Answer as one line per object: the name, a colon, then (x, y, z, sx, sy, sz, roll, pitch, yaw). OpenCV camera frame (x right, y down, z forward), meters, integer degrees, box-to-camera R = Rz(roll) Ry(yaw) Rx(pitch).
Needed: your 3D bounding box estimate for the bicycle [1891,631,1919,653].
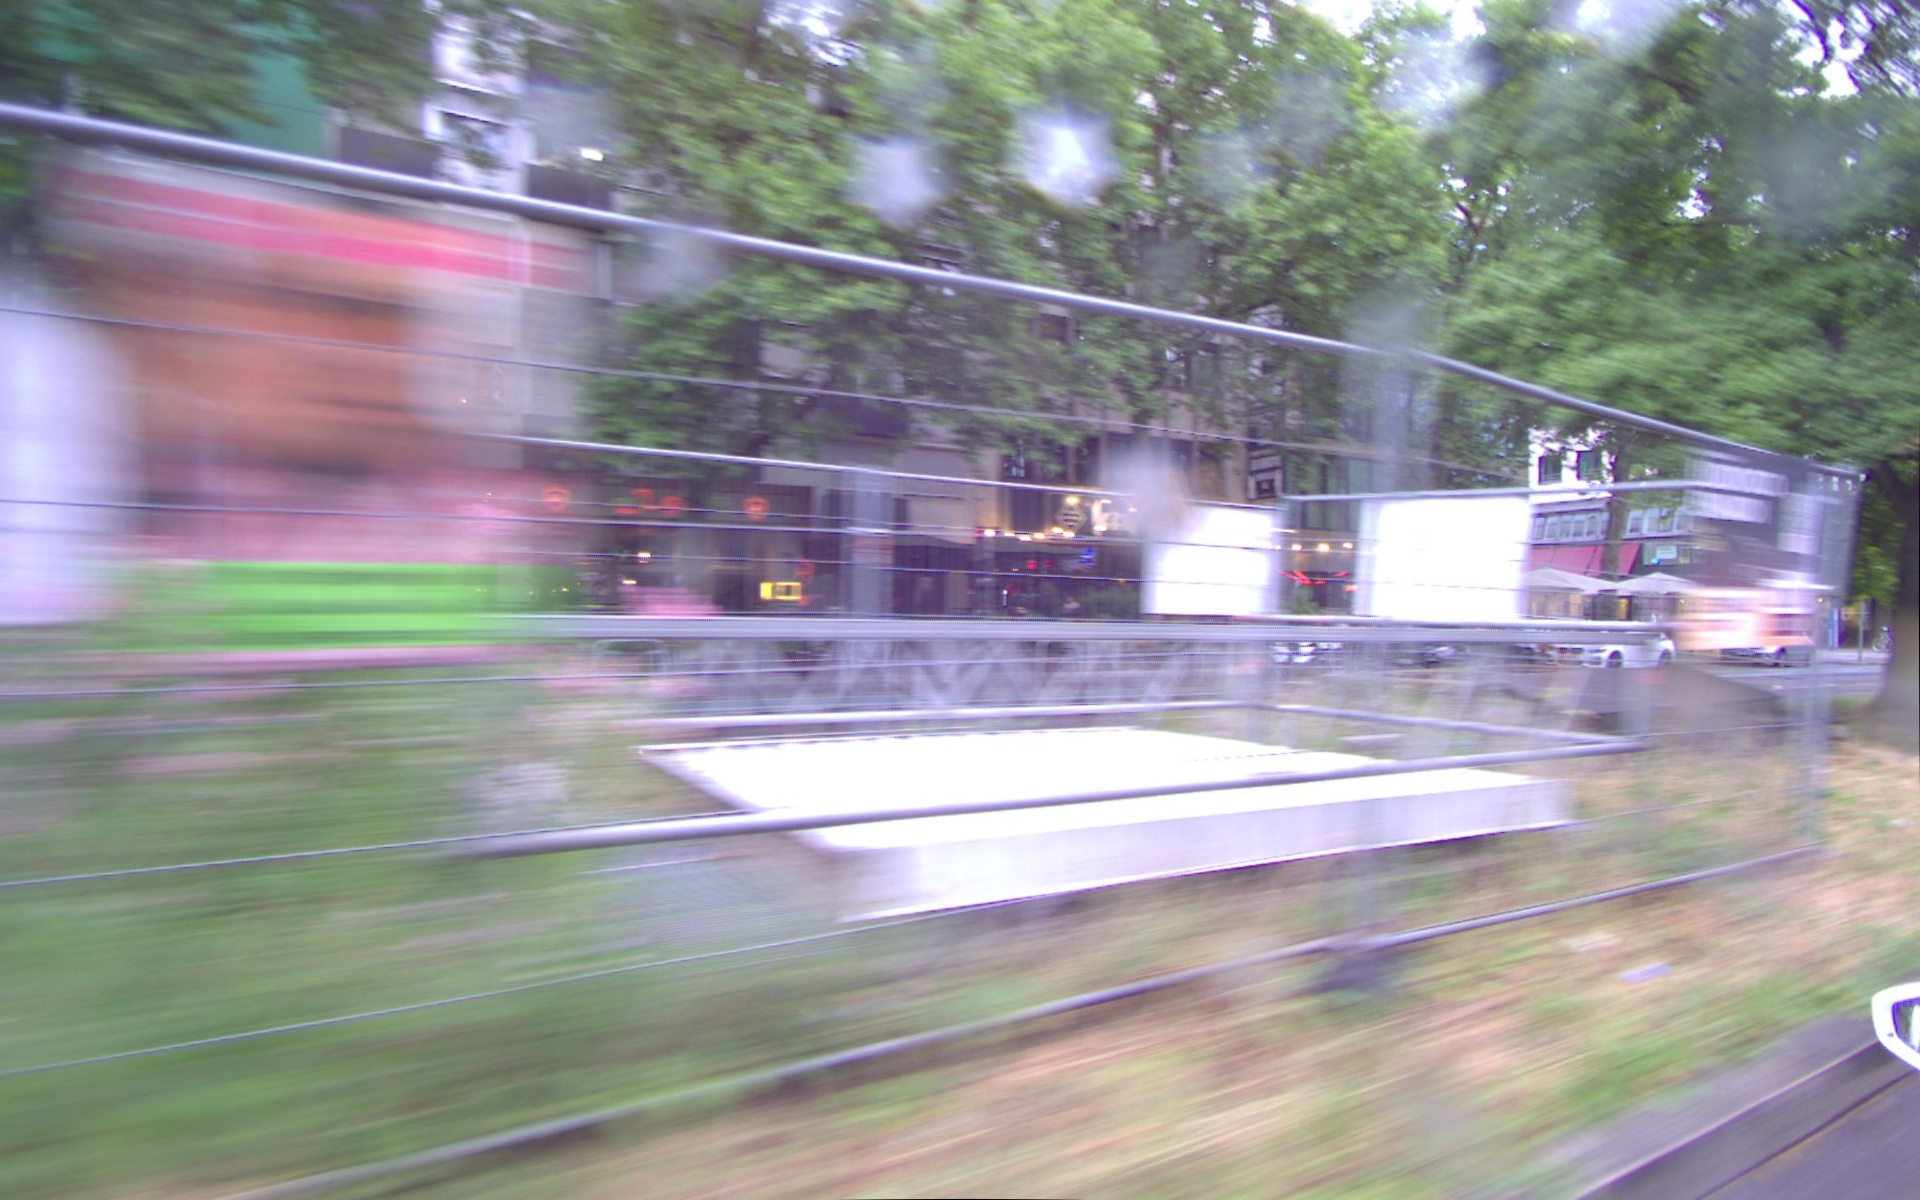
bicycle: (44.072, 1.937, 46.300, 0.505, 0.975, 1.606, 1, 0, -36)

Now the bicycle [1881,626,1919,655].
bicycle: (42.882, 1.822, 45.541, 0.505, 1.258, 1.606, 1, 0, -36)

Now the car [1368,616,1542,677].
car: (12.631, 1.148, 25.569, 4.430, 1.413, 1.816, 1, 0, -30)

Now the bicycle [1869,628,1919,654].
bicycle: (42.198, 1.838, 45.205, 0.609, 1.112, 1.831, 1, 0, -37)

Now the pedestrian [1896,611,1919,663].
pedestrian: (35.341, 1.370, 37.316, 0.835, 1.892, 0.719, 1, 0, -37)

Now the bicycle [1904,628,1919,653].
bicycle: (46.040, 1.926, 47.576, 0.560, 1.152, 1.831, 1, 0, -36)

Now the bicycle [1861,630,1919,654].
bicycle: (41.465, 1.850, 44.769, 0.560, 0.992, 1.834, 1, 0, -32)

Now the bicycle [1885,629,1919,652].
bicycle: (43.455, 1.851, 46.051, 0.561, 0.992, 1.452, 1, 0, -37)

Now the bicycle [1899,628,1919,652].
bicycle: (45.455, 1.894, 47.234, 0.560, 1.112, 1.808, 1, 0, -36)

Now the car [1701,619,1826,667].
car: (27.518, 1.438, 34.373, 4.468, 1.529, 1.983, 1, -1, -32)

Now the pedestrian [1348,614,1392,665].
pedestrian: (11.620, 1.109, 28.474, 0.923, 1.398, 0.759, 1, 0, -33)

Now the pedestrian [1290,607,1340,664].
pedestrian: (9.592, 0.948, 27.148, 0.963, 1.508, 0.824, 1, 0, -33)

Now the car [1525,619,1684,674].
car: (18.617, 1.295, 28.977, 4.485, 1.388, 1.984, 1, 2, -30)
